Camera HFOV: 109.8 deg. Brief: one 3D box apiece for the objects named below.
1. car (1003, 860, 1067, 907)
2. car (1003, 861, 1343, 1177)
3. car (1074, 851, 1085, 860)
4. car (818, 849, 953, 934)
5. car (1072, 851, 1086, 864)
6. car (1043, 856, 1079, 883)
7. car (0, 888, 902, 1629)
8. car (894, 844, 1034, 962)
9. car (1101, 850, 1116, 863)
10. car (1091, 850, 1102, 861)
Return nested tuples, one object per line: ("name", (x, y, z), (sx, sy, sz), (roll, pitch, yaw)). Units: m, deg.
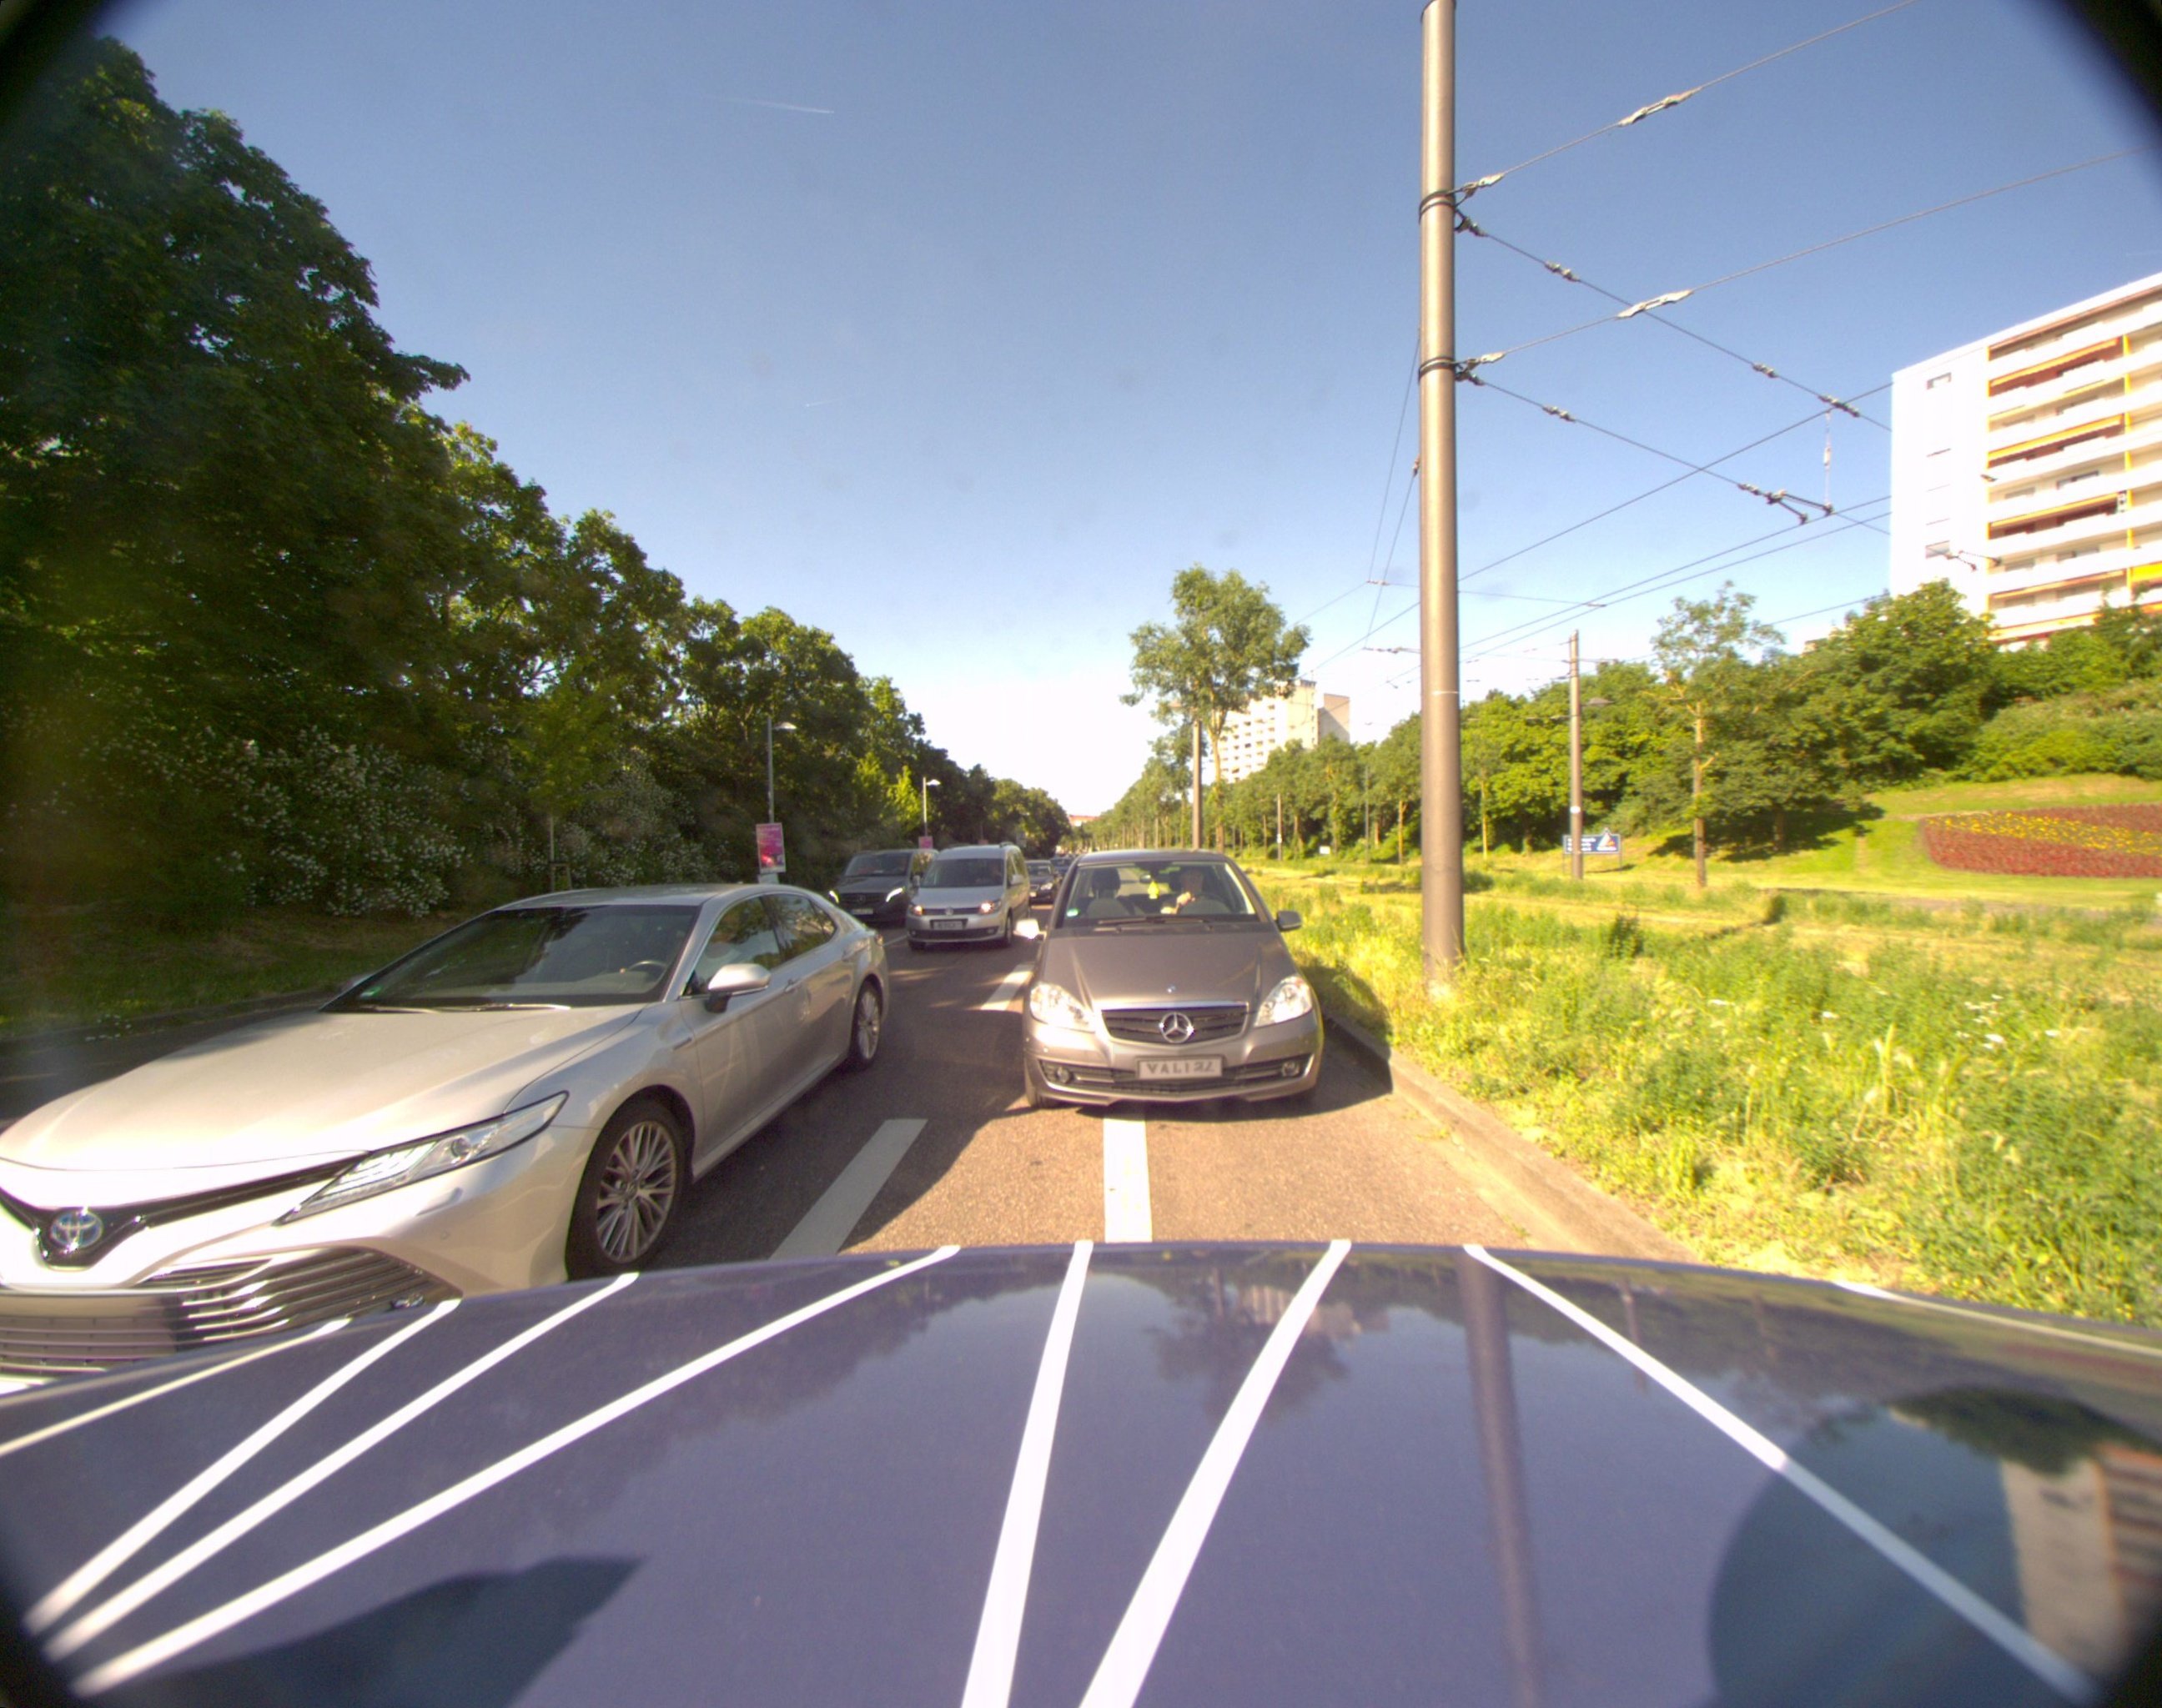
("car", (-1.461, 0.933, 25.688), (1.776, 1.395, 4.067), (-1, 0, 2))
("car", (0.516, 0.895, 6.206), (1.777, 1.597, 4.384), (-1, 0, 1))
("car", (-0.189, 0.222, 129.102), (1.777, 1.597, 4.384), (-1, 0, 1))
("car", (-4.790, 0.823, 19.539), (1.998, 1.882, 5.148), (-1, 0, 1))
("car", (-0.308, 0.439, 102.319), (1.777, 1.597, 4.384), (-1, 0, 1))
("car", (-1.054, 0.830, 42.031), (1.776, 1.395, 4.067), (-1, 0, 2))
("car", (-2.644, 1.045, 4.121), (2.069, 1.451, 4.749), (-1, 0, 2))
("car", (-2.036, 0.782, 14.617), (1.822, 1.893, 4.622), (-1, 0, 2))
("car", (3.608, 0.340, 99.604), (1.777, 1.597, 4.384), (-1, 0, 1))
("car", (2.454, 0.211, 120.727), (1.777, 1.597, 4.384), (-1, 0, 1))
